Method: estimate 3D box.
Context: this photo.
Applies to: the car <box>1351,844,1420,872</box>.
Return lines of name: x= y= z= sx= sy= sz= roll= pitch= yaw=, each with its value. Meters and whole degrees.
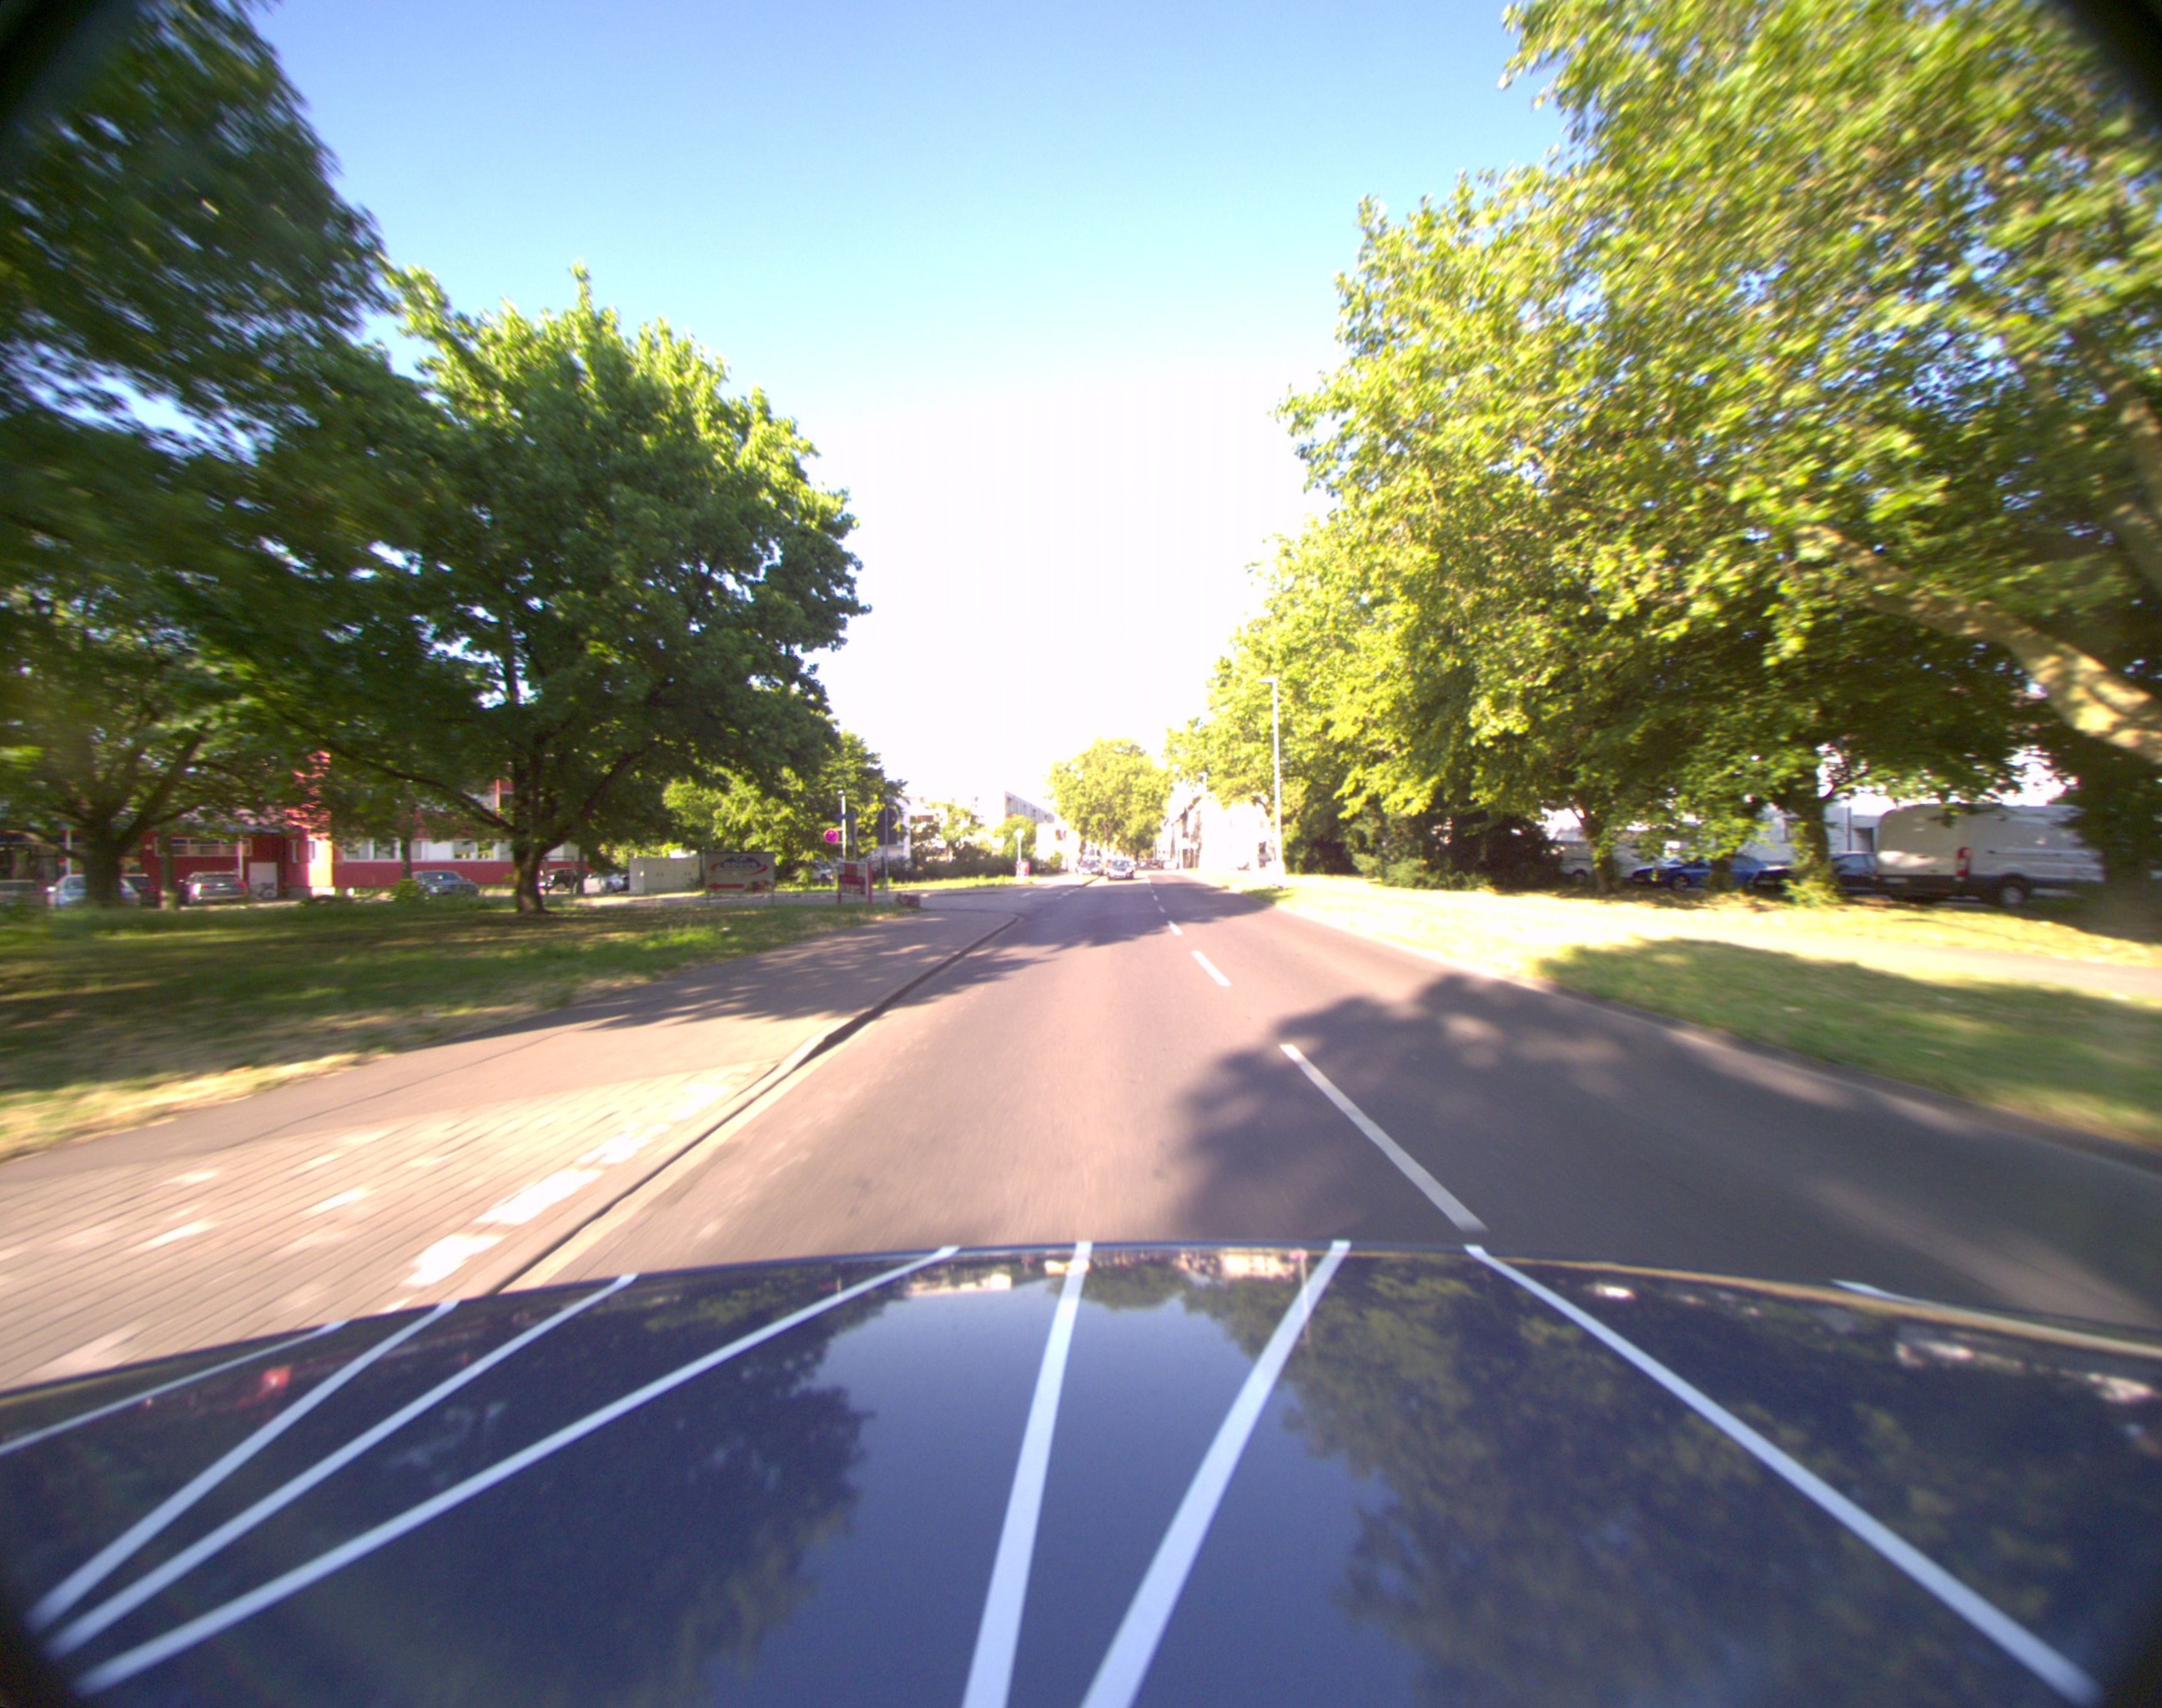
car: x=20.706 y=0.285 z=51.791 sx=3.997 sy=1.674 sz=1.727 roll=-3 pitch=0 yaw=1

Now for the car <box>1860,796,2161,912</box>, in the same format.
car: x=22.208 y=0.003 z=17.856 sx=5.444 sy=2.487 sz=2.186 roll=1 pitch=0 yaw=1

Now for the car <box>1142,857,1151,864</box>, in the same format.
car: x=14.988 y=1.495 z=174.405 sx=1.900 sy=1.581 sz=4.071 roll=0 pitch=0 yaw=6

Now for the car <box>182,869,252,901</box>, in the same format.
car: x=-42.967 y=1.532 z=37.793 sx=3.544 sy=1.418 sz=1.689 roll=-3 pitch=0 yaw=32

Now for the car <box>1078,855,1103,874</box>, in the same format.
car: x=0.841 y=0.890 z=65.155 sx=1.786 sy=1.506 sz=4.691 roll=1 pitch=0 yaw=4

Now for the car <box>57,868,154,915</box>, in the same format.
car: x=-34.377 y=1.329 z=26.749 sx=4.186 sy=1.467 sz=1.792 roll=-3 pitch=0 yaw=34

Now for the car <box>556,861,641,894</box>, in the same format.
car: x=-25.224 y=1.249 z=39.689 sx=4.433 sy=1.584 sz=2.004 roll=-2 pitch=0 yaw=32

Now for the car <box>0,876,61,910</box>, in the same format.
car: x=-45.491 y=1.684 z=32.628 sx=3.544 sy=1.343 sz=1.689 roll=-3 pitch=0 yaw=32

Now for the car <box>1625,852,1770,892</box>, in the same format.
car: x=22.367 y=0.645 z=27.654 sx=3.939 sy=1.374 sz=1.692 roll=0 pitch=0 yaw=-1

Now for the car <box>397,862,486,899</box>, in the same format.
car: x=-29.446 y=1.227 z=34.949 sx=4.656 sy=1.467 sz=1.792 roll=-3 pitch=0 yaw=33

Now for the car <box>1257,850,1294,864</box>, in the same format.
car: x=22.646 y=0.344 z=88.466 sx=3.992 sy=1.552 sz=1.867 roll=-2 pitch=1 yaw=17

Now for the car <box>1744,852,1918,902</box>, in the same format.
car: x=21.988 y=0.647 z=22.369 sx=3.490 sy=1.374 sz=1.692 roll=0 pitch=0 yaw=-1

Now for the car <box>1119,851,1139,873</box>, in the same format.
car: x=4.723 y=0.781 z=75.535 sx=1.934 sy=2.002 sz=4.000 roll=-1 pitch=1 yaw=2

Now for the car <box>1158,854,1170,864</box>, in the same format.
car: x=13.593 y=0.810 z=124.673 sx=1.869 sy=1.475 sz=4.089 roll=-2 pitch=0 yaw=6

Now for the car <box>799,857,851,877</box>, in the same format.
car: x=-21.855 y=1.116 z=64.782 sx=3.989 sy=1.565 sz=1.913 roll=0 pitch=1 yaw=27

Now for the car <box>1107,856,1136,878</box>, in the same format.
car: x=2.746 y=0.856 z=51.840 sx=1.869 sy=1.471 sz=4.087 roll=0 pitch=0 yaw=3

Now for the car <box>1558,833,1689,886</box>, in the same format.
car: x=21.997 y=0.239 z=30.927 sx=3.998 sy=2.032 sz=1.908 roll=-1 pitch=-1 yaw=-4

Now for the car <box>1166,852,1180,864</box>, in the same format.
car: x=12.118 y=0.545 z=100.416 sx=1.765 sy=1.474 sz=4.110 roll=-2 pitch=0 yaw=6

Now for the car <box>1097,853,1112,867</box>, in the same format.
car: x=3.018 y=0.762 z=97.416 sx=1.601 sy=1.680 sz=4.338 roll=0 pitch=0 yaw=6

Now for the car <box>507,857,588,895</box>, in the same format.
car: x=-26.397 y=1.037 z=37.555 sx=4.433 sy=1.807 sz=1.710 roll=0 pitch=0 yaw=32

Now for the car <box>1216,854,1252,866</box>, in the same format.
car: x=18.070 y=0.724 z=89.826 sx=3.992 sy=1.410 sz=1.917 roll=-1 pitch=0 yaw=16

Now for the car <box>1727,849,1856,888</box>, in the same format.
car: x=31.818 y=0.639 z=34.103 sx=3.998 sy=1.674 sz=1.999 roll=-1 pitch=0 yaw=-3

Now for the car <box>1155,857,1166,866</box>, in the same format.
car: x=14.747 y=1.334 z=141.163 sx=1.869 sy=1.603 sz=4.087 roll=-2 pitch=0 yaw=3
